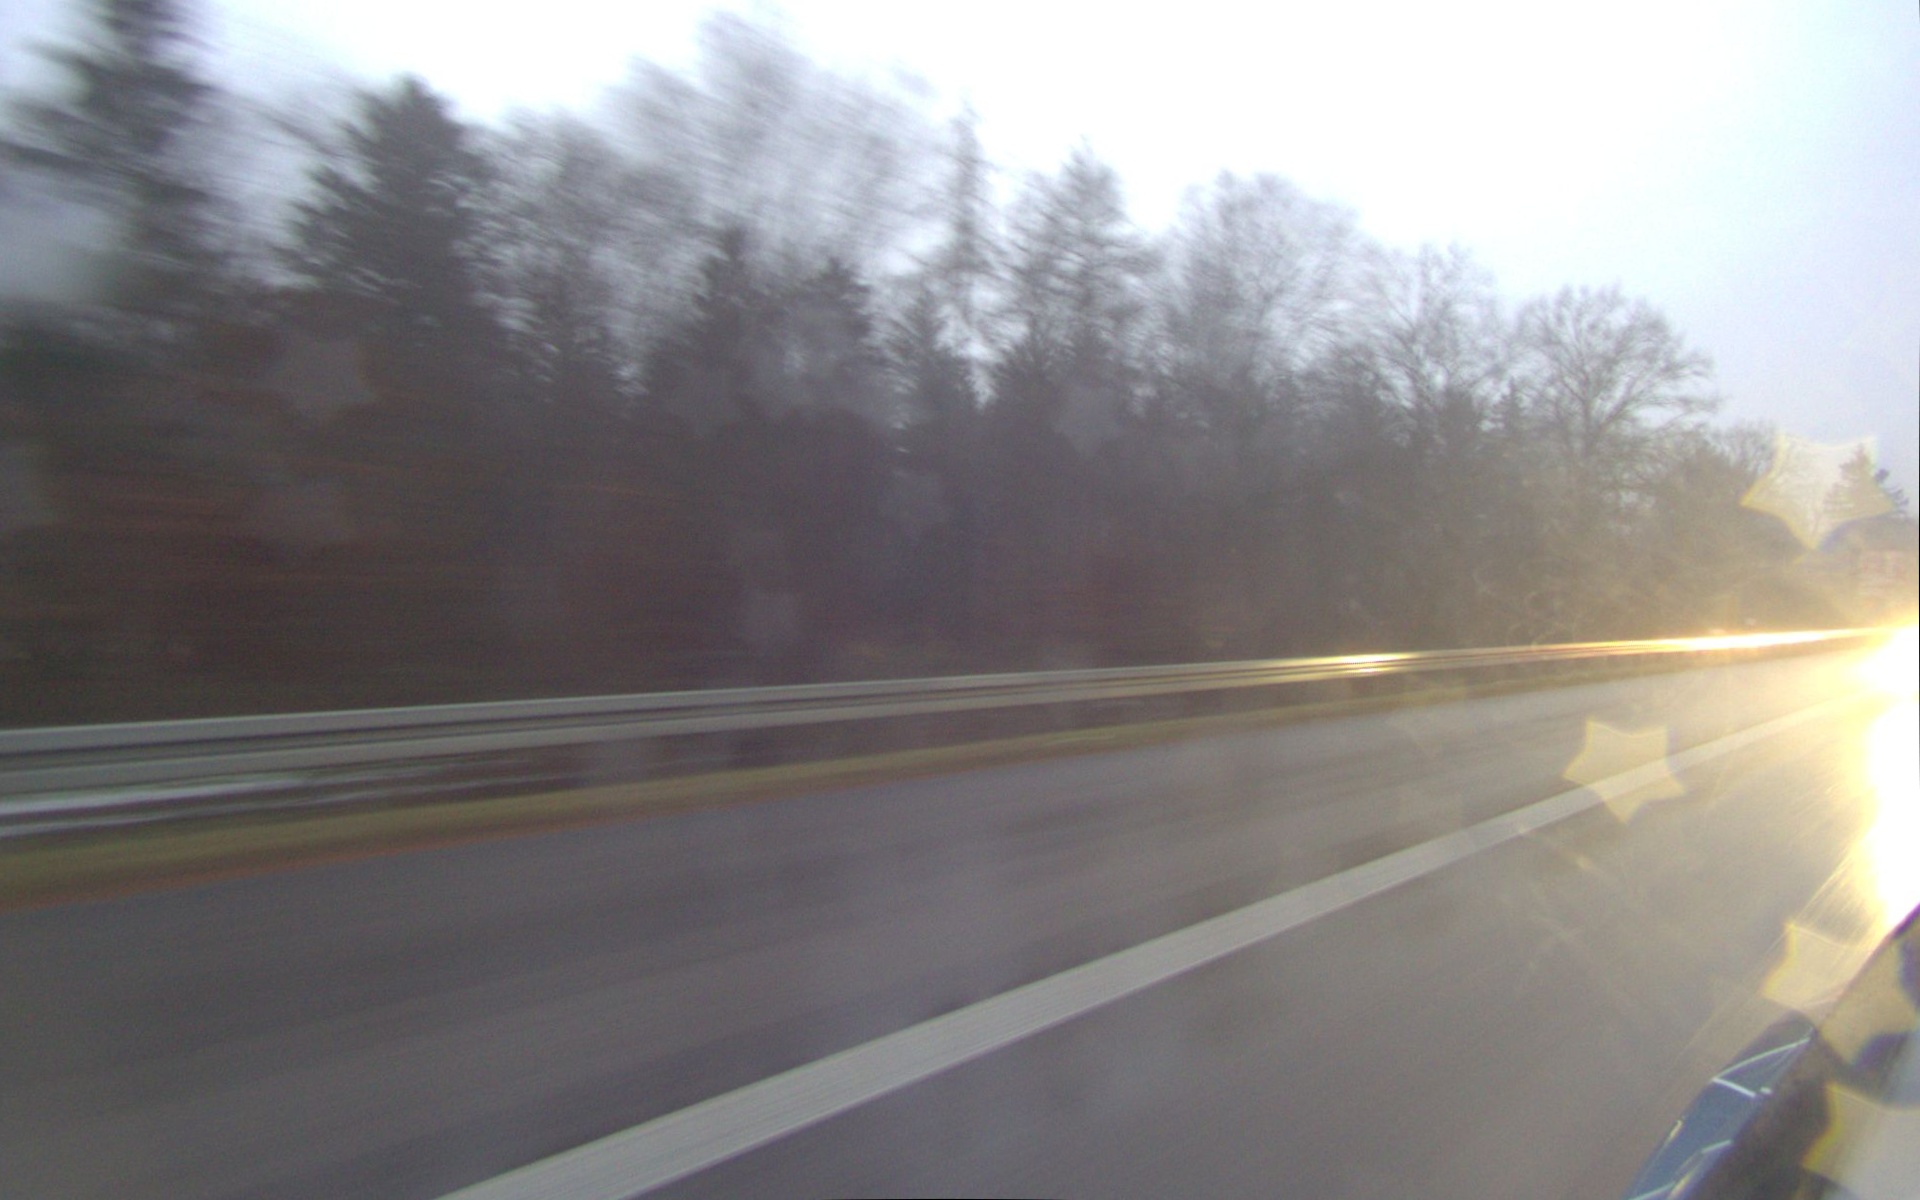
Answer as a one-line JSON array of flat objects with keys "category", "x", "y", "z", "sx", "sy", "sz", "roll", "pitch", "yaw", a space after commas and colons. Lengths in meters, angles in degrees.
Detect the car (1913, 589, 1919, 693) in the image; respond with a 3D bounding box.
[{"category": "car", "x": 18.784, "y": 0.723, "z": 18.225, "sx": 3.871, "sy": 1.814, "sz": 1.928, "roll": 0, "pitch": 0, "yaw": -40}]
